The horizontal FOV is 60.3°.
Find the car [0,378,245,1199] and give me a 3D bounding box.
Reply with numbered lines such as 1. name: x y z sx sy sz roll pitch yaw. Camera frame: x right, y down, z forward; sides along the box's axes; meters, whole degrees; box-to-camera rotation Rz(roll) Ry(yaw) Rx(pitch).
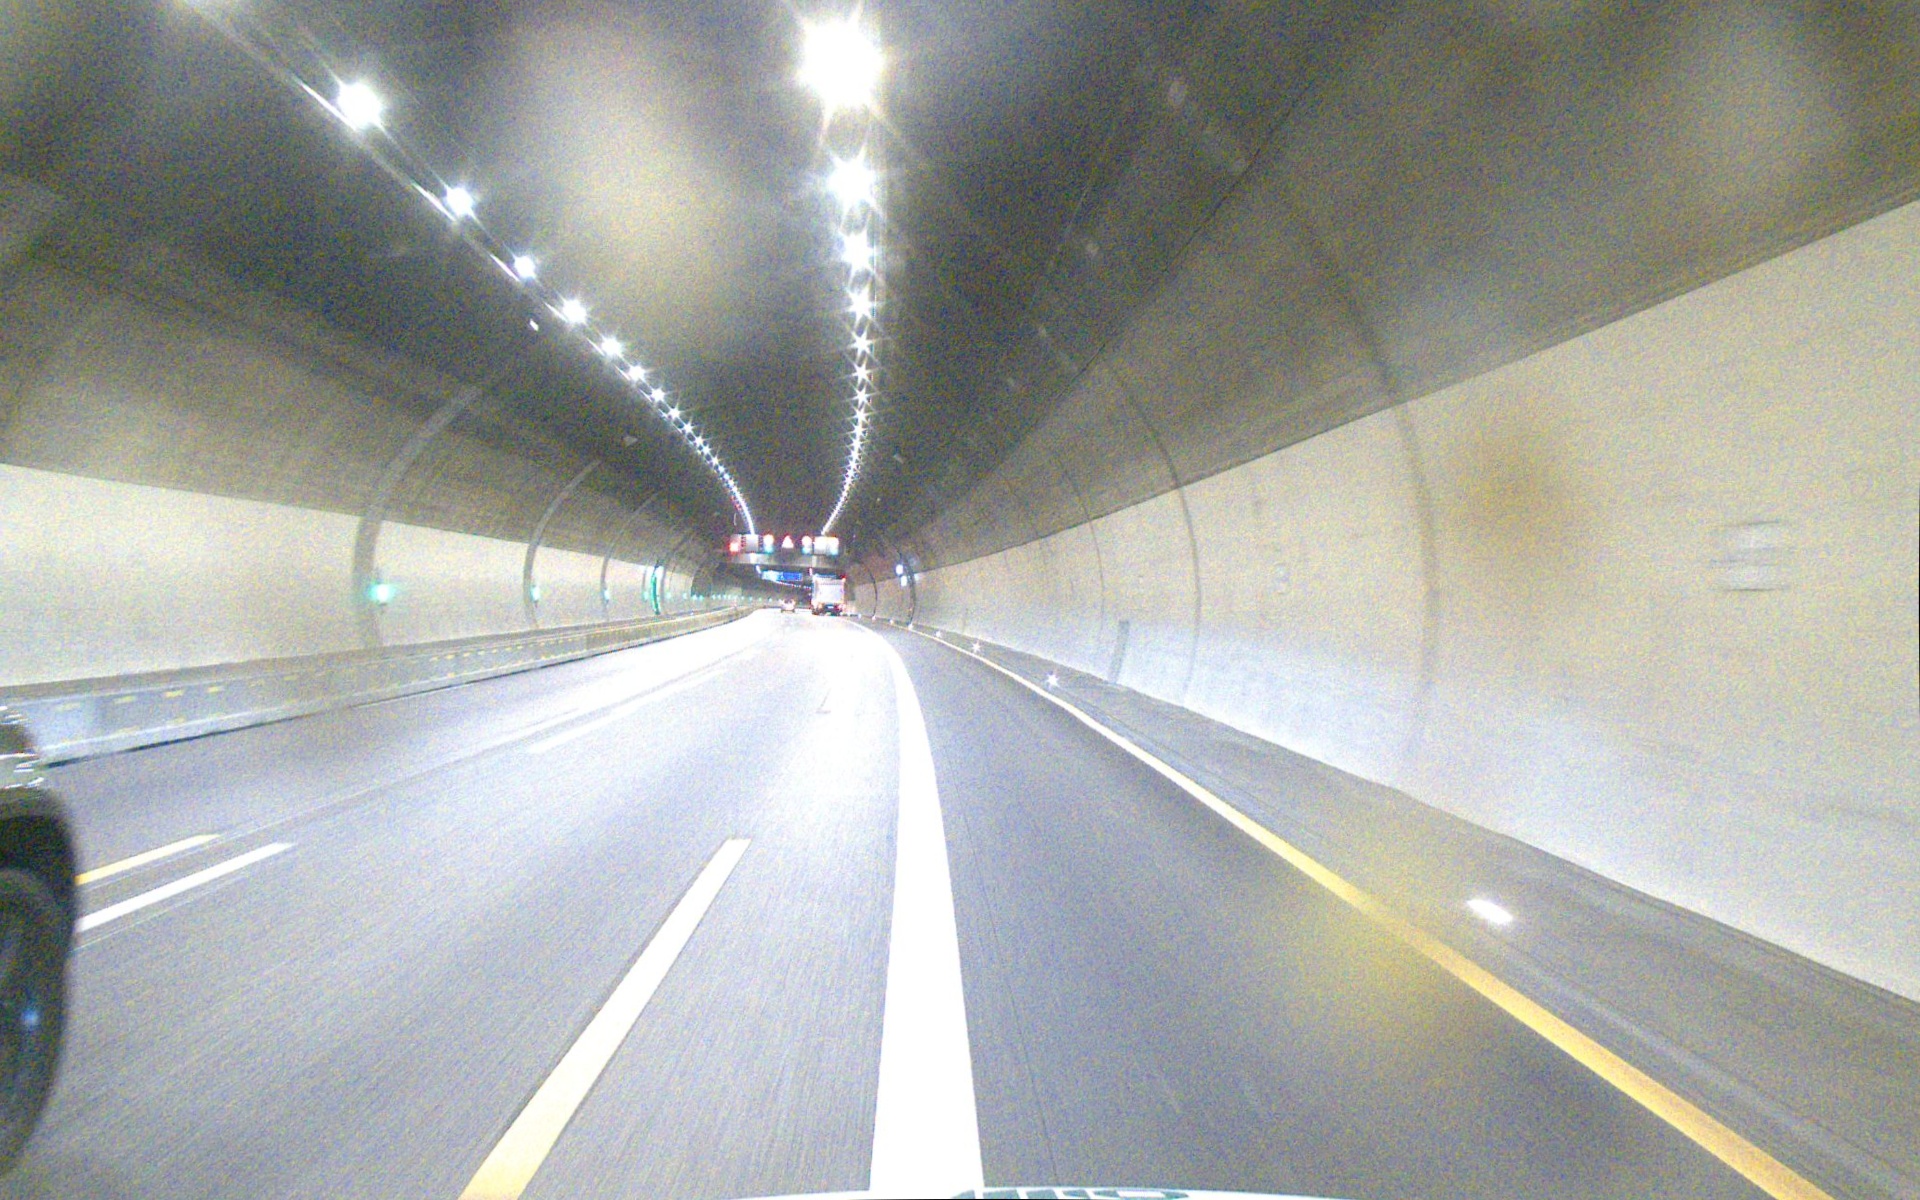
1. car: -3.207 0.438 2.414 1.953 1.928 5.453 1 0 0

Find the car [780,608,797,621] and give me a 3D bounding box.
1. car: -20.781 1.744 200.014 1.956 1.609 3.994 1 0 -7

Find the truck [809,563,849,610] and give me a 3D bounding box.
1. truck: -12.730 -1.288 159.792 3.407 4.391 10.937 1 0 -6

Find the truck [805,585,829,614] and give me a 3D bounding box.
1. truck: -22.278 -0.133 257.821 3.407 4.392 10.936 0 0 -6
